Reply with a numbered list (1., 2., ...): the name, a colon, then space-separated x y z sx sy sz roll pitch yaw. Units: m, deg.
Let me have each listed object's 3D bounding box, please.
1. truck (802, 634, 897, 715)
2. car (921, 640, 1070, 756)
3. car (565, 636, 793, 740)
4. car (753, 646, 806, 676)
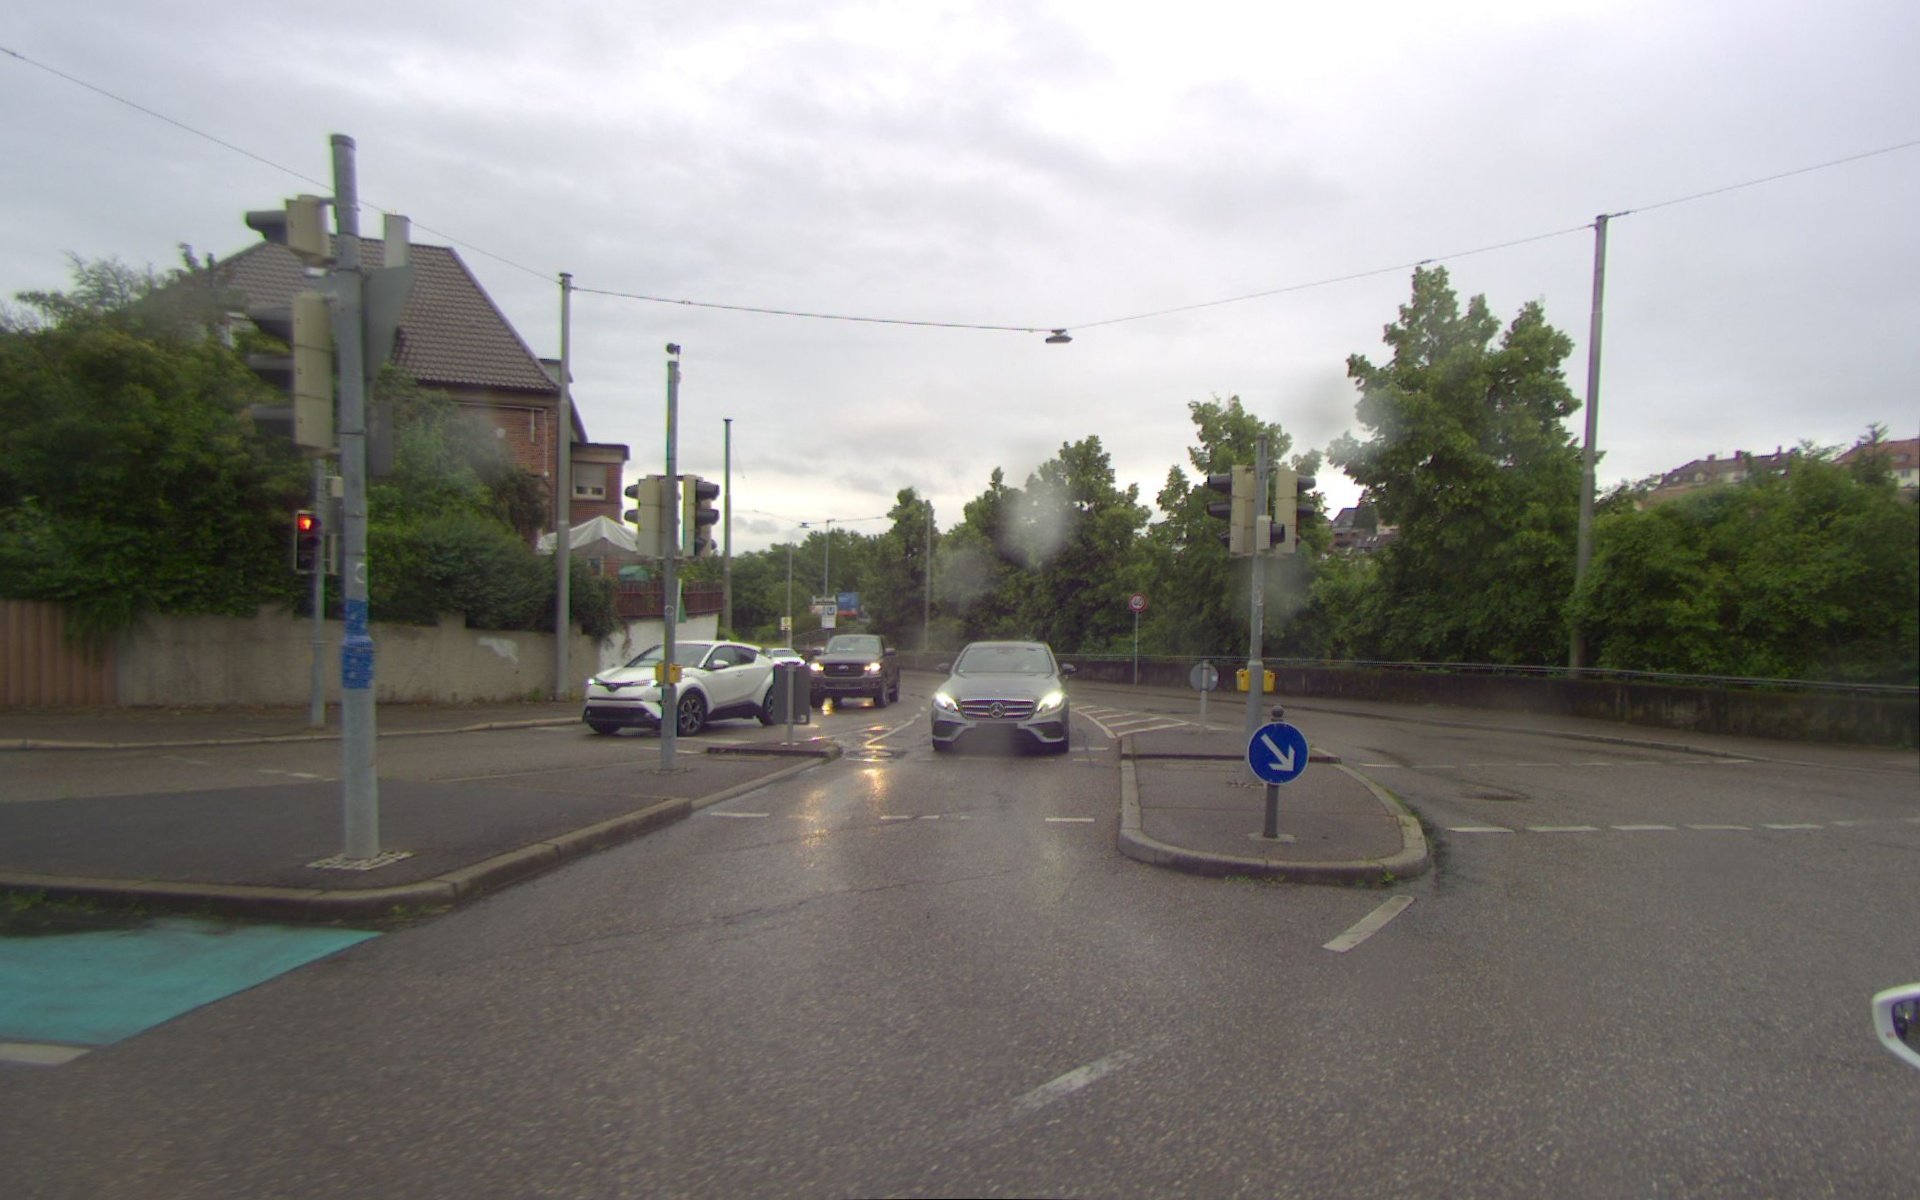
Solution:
1. truck: -2.748 1.830 26.136 1.851 1.872 5.281 1 -2 0
2. car: 0.673 1.321 14.725 1.827 1.413 4.600 -1 -3 6
3. car: -4.586 1.401 17.112 1.678 1.486 4.263 1 -2 17
4. car: -9.888 3.320 54.800 1.827 1.493 4.417 -1 -2 -24
